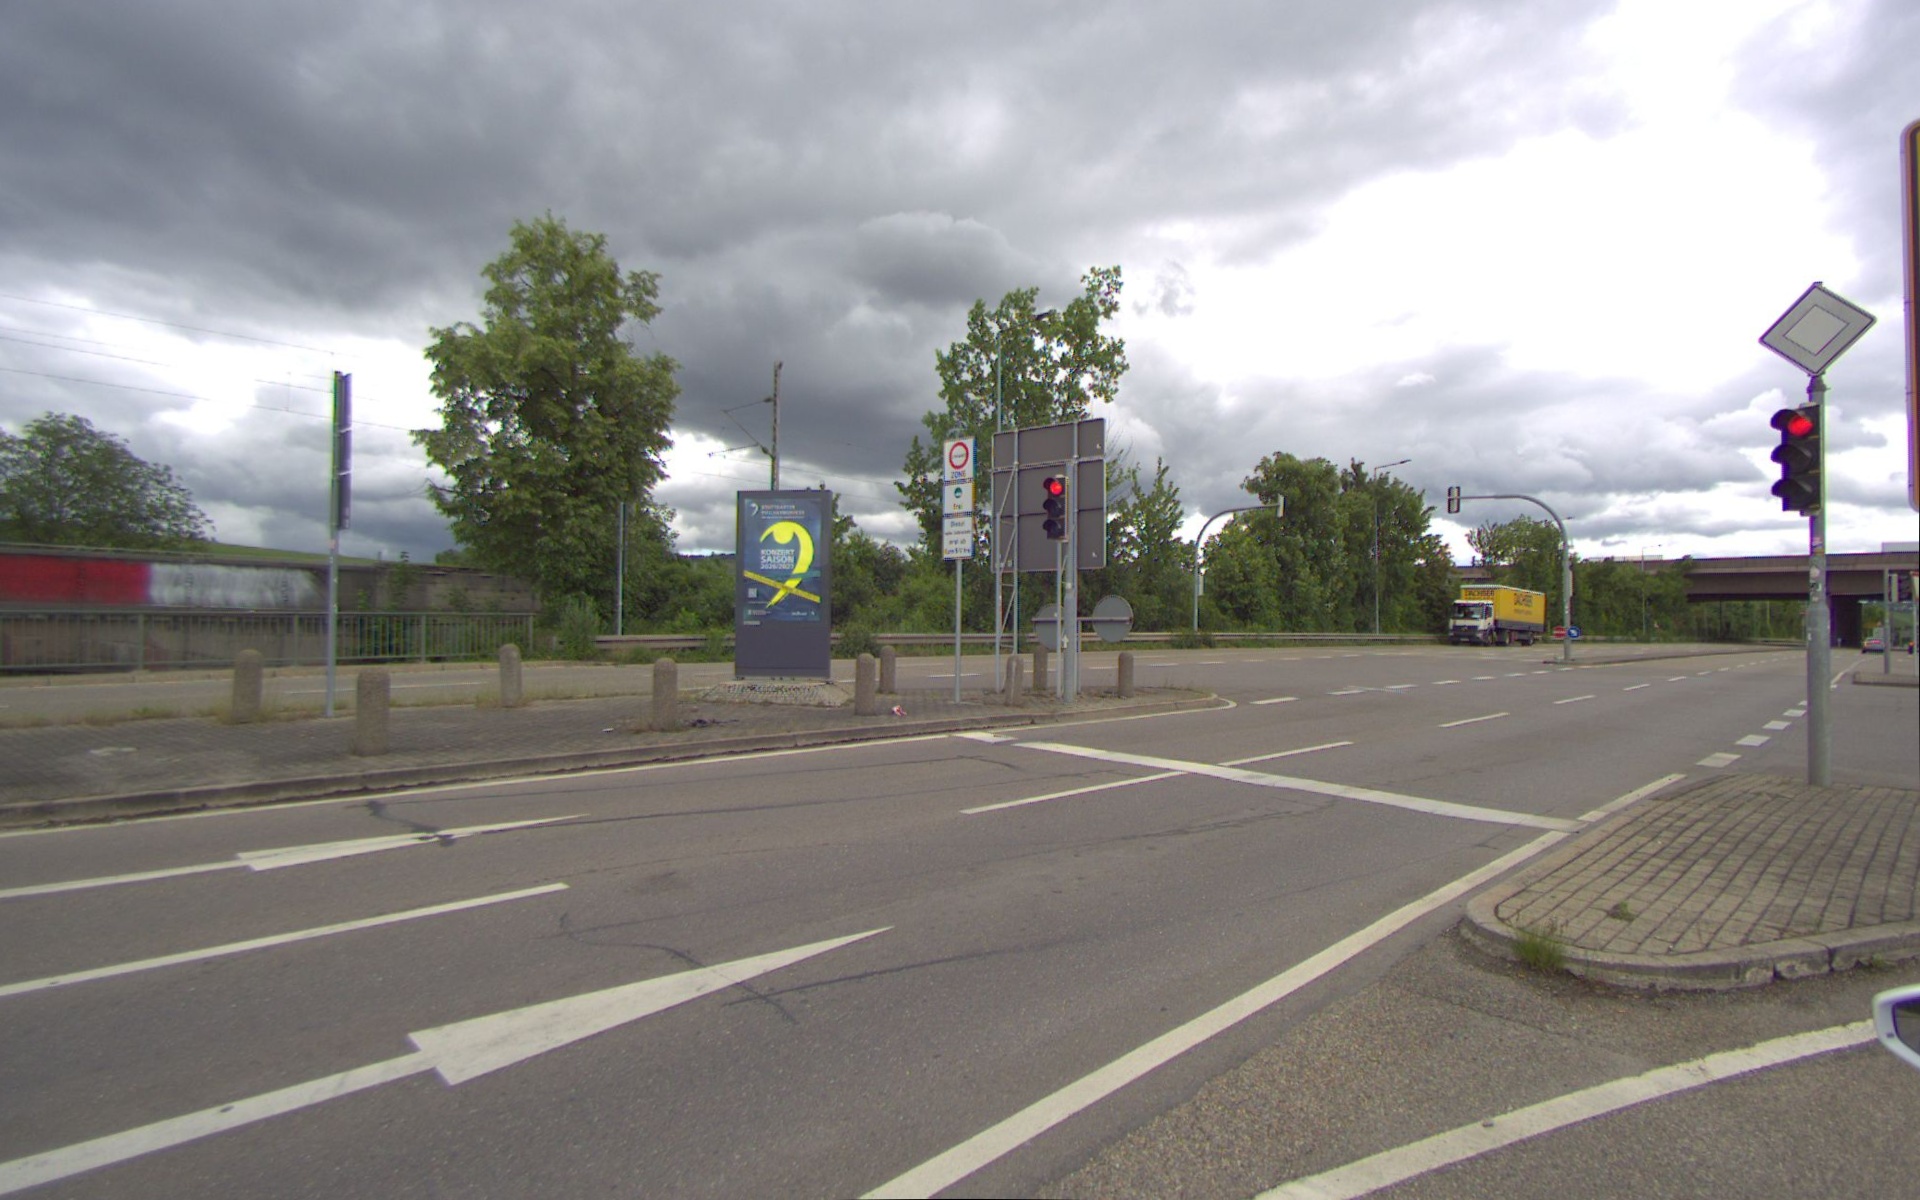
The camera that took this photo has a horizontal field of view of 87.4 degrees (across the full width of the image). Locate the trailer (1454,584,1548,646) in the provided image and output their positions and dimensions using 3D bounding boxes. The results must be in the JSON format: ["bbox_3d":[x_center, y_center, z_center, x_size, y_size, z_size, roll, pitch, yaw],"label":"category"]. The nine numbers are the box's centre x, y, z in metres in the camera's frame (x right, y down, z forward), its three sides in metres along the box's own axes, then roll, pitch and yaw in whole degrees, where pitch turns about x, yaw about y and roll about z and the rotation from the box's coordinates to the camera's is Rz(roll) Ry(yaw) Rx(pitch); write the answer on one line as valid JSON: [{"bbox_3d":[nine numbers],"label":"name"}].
[{"bbox_3d":[39.779,1.087,73.603,2.842,4.139,11.353,3,1,45],"label":"trailer"}]

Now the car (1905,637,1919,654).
[{"bbox_3d":[90.372,4.285,94.491,1.973,1.483,4.085,1,-2,45],"label":"car"}]

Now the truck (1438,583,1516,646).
[{"bbox_3d":[35.933,0.982,69.688,6.445,4.139,2.842,1,1,-45],"label":"truck"}]

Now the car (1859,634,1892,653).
[{"bbox_3d":[79.820,3.816,87.586,1.973,1.461,4.086,1,-2,44],"label":"car"}]

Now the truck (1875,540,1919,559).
[{"bbox_3d":[118.089,-6.301,125.205,1.976,2.192,5.597,1,0,-29],"label":"truck"}]
